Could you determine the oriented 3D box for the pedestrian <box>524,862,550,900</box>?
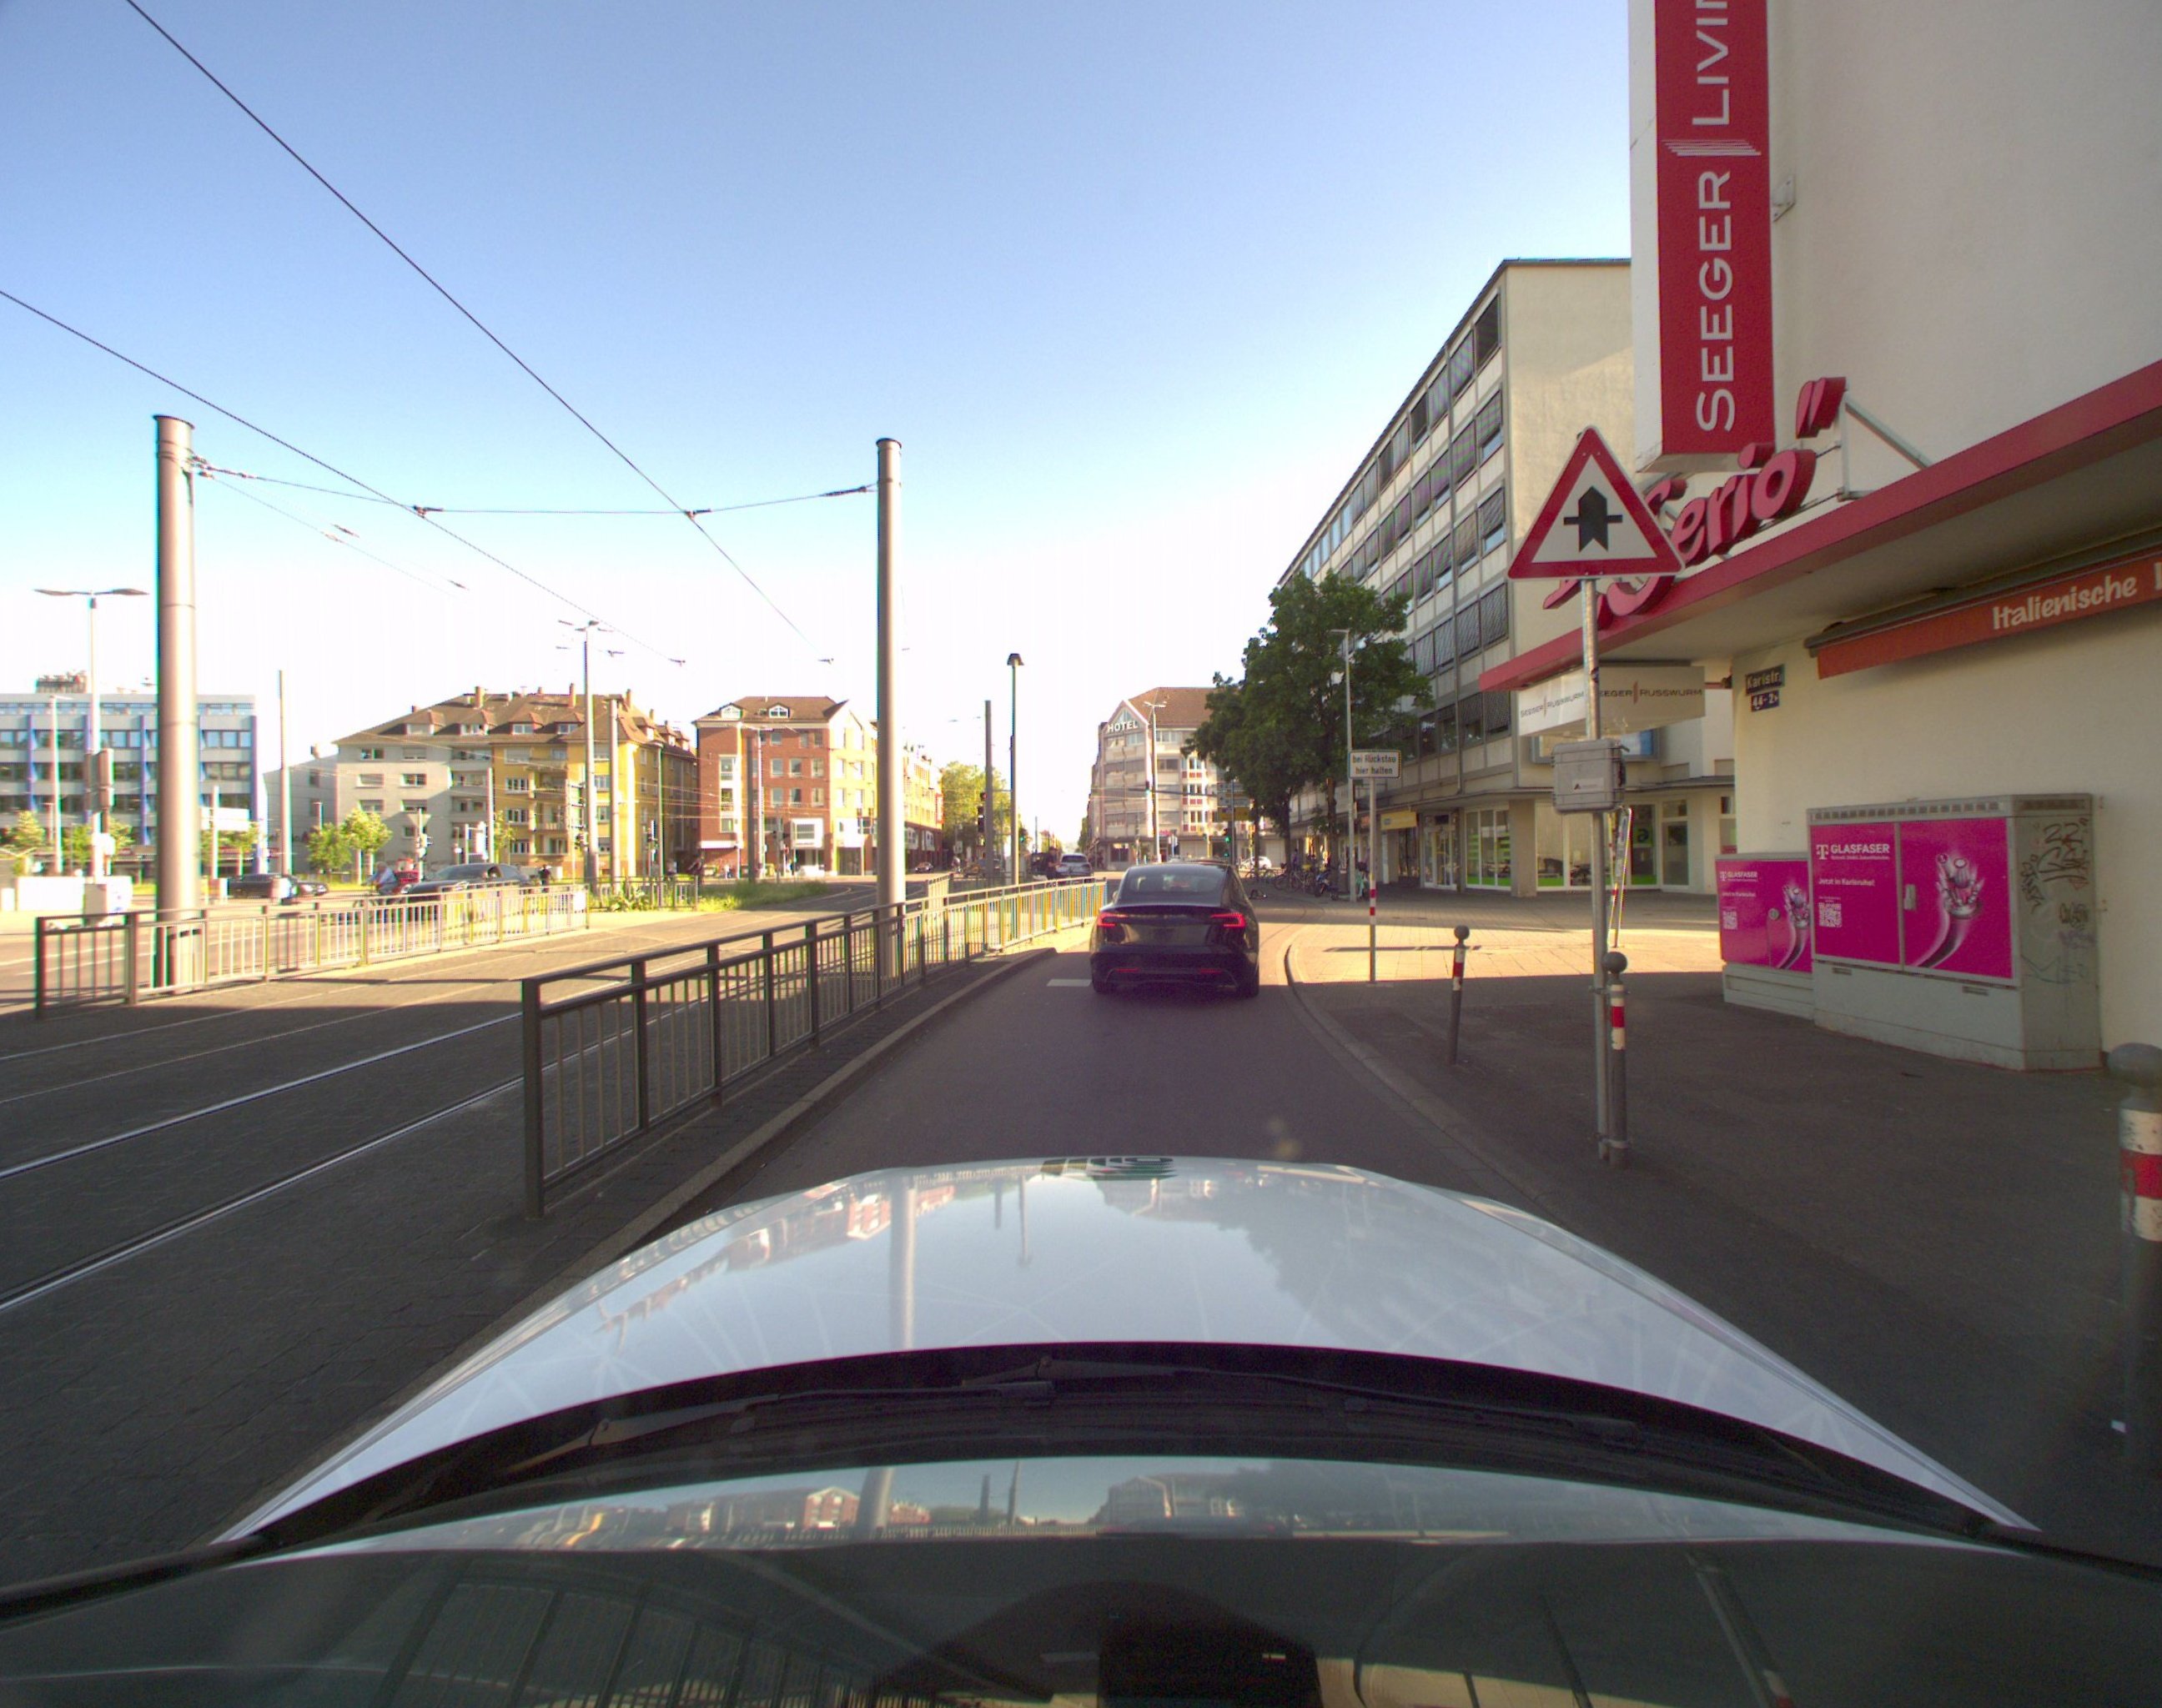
[{"bbox_3d":[-28.004,1.372,41.926,0.718,1.934,0.800,-1,-1,11],"label":"pedestrian"}]

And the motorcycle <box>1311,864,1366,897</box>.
[{"bbox_3d":[9.165,0.932,29.011,1.781,1.130,0.504,0,-1,-1],"label":"motorcycle"}]

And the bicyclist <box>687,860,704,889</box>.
[{"bbox_3d":[-21.579,1.141,45.587,0.588,1.649,0.804,0,-1,-6],"label":"bicyclist"}]

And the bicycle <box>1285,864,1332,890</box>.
[{"bbox_3d":[9.256,0.927,33.150,1.758,1.057,0.459,0,-1,6],"label":"bicycle"}]

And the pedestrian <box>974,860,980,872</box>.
[{"bbox_3d":[-13.996,1.629,109.576,0.584,1.531,0.634,0,-1,-16],"label":"pedestrian"}]

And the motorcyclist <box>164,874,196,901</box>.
[{"bbox_3d":[-51.771,1.893,46.783,0.919,1.524,0.781,0,-1,-5],"label":"motorcyclist"}]

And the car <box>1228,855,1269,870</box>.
[{"bbox_3d":[17.665,0.900,86.002,3.832,1.432,1.801,-1,-2,-4],"label":"car"}]

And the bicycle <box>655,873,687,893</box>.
[{"bbox_3d":[-21.651,1.508,43.035,0.647,1.013,1.887,0,-1,4],"label":"bicycle"}]

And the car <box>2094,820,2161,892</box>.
[{"bbox_3d":[24.880,0.001,16.740,4.770,1.432,1.893,-1,3,22],"label":"car"}]

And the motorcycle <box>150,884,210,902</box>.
[{"bbox_3d":[-51.752,2.244,46.784,2.355,0.984,0.790,0,-1,-6],"label":"motorcycle"}]

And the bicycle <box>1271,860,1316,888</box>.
[{"bbox_3d":[9.175,0.865,35.153,1.805,1.151,0.435,-1,-1,-3],"label":"bicycle"}]

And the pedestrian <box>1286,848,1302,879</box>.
[{"bbox_3d":[11.891,0.521,45.404,0.837,1.721,0.883,-1,-1,14],"label":"pedestrian"}]

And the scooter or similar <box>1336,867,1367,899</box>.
[{"bbox_3d":[8.950,0.950,26.917,0.952,1.039,0.160,-1,0,4],"label":"scooter or similar"}]

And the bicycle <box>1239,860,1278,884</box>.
[{"bbox_3d":[9.210,0.937,42.208,1.882,1.156,0.480,-2,-1,2],"label":"bicycle"}]

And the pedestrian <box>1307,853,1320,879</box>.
[{"bbox_3d":[12.749,0.664,44.690,0.640,1.422,0.623,-1,-1,13],"label":"pedestrian"}]

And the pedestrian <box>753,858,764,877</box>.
[{"bbox_3d":[-29.849,1.252,75.291,0.694,1.710,0.928,0,-1,-5],"label":"pedestrian"}]

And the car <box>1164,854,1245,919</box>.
[{"bbox_3d":[3.009,0.724,20.562,1.756,1.444,4.535,0,0,5],"label":"car"}]

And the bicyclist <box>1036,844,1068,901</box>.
[{"bbox_3d":[-0.796,0.502,22.274,0.683,1.523,0.630,0,-1,-22],"label":"bicyclist"}]

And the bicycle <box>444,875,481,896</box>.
[{"bbox_3d":[-34.731,1.763,45.749,1.497,1.133,0.609,0,-1,-13],"label":"bicycle"}]

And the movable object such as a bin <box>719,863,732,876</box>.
[{"bbox_3d":[-38.289,1.647,87.820,0.995,1.437,1.093,0,-1,-8],"label":"movable object such as a bin"}]

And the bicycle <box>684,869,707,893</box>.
[{"bbox_3d":[-21.580,1.476,45.627,0.573,1.291,2.022,0,-1,-6],"label":"bicycle"}]

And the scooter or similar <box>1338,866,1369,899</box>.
[{"bbox_3d":[8.935,0.935,26.719,0.959,1.043,0.160,-1,0,4],"label":"scooter or similar"}]

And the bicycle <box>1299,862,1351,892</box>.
[{"bbox_3d":[9.313,0.869,31.084,1.850,1.056,0.398,-2,-1,-10],"label":"bicycle"}]

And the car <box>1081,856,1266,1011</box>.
[{"bbox_3d":[1.198,0.769,9.892,1.780,1.450,3.950,0,0,9],"label":"car"}]

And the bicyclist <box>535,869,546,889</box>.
[{"bbox_3d":[-34.692,1.604,52.307,0.459,1.316,0.398,0,-1,-14],"label":"bicyclist"}]

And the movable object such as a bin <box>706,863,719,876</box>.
[{"bbox_3d":[-39.590,1.665,87.566,0.995,1.437,1.093,0,-1,-8],"label":"movable object such as a bin"}]

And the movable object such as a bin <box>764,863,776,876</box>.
[{"bbox_3d":[-33.642,1.677,88.176,0.995,1.437,1.093,0,-1,-8],"label":"movable object such as a bin"}]

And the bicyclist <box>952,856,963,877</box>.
[{"bbox_3d":[-10.850,1.092,71.580,0.617,1.772,0.820,0,-1,-42],"label":"bicyclist"}]

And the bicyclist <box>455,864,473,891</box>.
[{"bbox_3d":[-34.677,1.329,45.762,0.615,1.493,0.607,0,-1,-12],"label":"bicyclist"}]

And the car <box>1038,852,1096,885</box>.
[{"bbox_3d":[-0.769,0.757,43.267,1.848,1.635,3.457,0,-1,-25],"label":"car"}]

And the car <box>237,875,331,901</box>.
[{"bbox_3d":[-46.439,1.967,47.519,3.695,1.472,1.572,0,-1,-6],"label":"car"}]

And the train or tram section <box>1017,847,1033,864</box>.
[{"bbox_3d":[-12.092,0.466,175.245,2.720,3.542,10.083,0,-1,0],"label":"train or tram section"}]

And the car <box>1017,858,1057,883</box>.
[{"bbox_3d":[-2.979,1.087,54.460,1.578,1.618,3.756,0,-1,-21],"label":"car"}]

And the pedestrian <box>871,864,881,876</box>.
[{"bbox_3d":[-26.987,2.107,107.068,0.876,1.568,0.868,-1,-1,23],"label":"pedestrian"}]

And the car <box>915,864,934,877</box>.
[{"bbox_3d":[-20.065,2.111,104.645,1.813,1.454,3.972,-2,-1,-3],"label":"car"}]

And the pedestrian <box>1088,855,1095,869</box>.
[{"bbox_3d":[1.394,1.032,107.234,0.911,1.754,0.839,0,-1,0],"label":"pedestrian"}]

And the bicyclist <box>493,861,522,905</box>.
[{"bbox_3d":[-22.070,1.121,31.346,0.518,1.673,0.771,0,-1,3],"label":"bicyclist"}]

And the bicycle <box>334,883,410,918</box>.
[{"bbox_3d":[-22.468,1.452,25.864,0.526,1.013,1.890,-1,-1,10],"label":"bicycle"}]

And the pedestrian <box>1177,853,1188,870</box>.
[{"bbox_3d":[9.567,0.746,76.666,0.780,1.576,0.863,0,1,-14],"label":"pedestrian"}]

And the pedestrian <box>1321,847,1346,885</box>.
[{"bbox_3d":[11.294,0.533,36.450,0.840,1.707,0.880,0,-1,1],"label":"pedestrian"}]

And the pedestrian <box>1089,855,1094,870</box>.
[{"bbox_3d":[1.229,1.002,94.808,0.624,1.782,0.917,0,-1,0],"label":"pedestrian"}]

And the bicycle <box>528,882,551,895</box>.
[{"bbox_3d":[-34.758,2.204,52.260,1.174,0.764,0.318,0,-1,-15],"label":"bicycle"}]

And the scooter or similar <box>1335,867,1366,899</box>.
[{"bbox_3d":[8.964,0.961,27.117,0.959,1.027,0.160,-1,0,4],"label":"scooter or similar"}]

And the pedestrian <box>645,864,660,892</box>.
[{"bbox_3d":[-26.612,1.494,50.570,0.624,1.688,0.703,0,1,-11],"label":"pedestrian"}]

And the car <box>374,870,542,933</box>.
[{"bbox_3d":[-17.497,1.272,23.151,1.680,1.560,4.119,0,-1,-2],"label":"car"}]

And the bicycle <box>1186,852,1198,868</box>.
[{"bbox_3d":[10.485,0.552,76.938,0.583,1.463,1.678,-1,0,-13],"label":"bicycle"}]

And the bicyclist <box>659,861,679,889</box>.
[{"bbox_3d":[-21.674,1.109,42.833,0.660,1.454,0.731,0,-1,4],"label":"bicyclist"}]

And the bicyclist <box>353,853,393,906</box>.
[{"bbox_3d":[-22.473,0.802,25.853,0.517,1.673,0.772,-1,-1,10],"label":"bicyclist"}]

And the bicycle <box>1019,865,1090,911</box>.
[{"bbox_3d":[-0.724,0.911,22.292,1.827,1.212,0.637,0,-1,-22],"label":"bicycle"}]

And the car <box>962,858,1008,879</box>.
[{"bbox_3d":[-7.327,1.082,62.097,1.740,1.551,3.431,0,-1,-43],"label":"car"}]

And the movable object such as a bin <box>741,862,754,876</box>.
[{"bbox_3d":[-36.003,1.638,87.934,0.995,1.437,1.093,0,-1,-8],"label":"movable object such as a bin"}]

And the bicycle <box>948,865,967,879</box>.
[{"bbox_3d":[-10.888,1.549,71.611,0.632,1.223,2.016,0,-1,-42],"label":"bicycle"}]

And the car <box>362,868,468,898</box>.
[{"bbox_3d":[-39.379,1.691,48.253,4.548,1.509,1.777,-2,0,-9],"label":"car"}]

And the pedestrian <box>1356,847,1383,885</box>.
[{"bbox_3d":[12.288,0.517,34.660,0.840,1.602,0.880,0,-1,1],"label":"pedestrian"}]
